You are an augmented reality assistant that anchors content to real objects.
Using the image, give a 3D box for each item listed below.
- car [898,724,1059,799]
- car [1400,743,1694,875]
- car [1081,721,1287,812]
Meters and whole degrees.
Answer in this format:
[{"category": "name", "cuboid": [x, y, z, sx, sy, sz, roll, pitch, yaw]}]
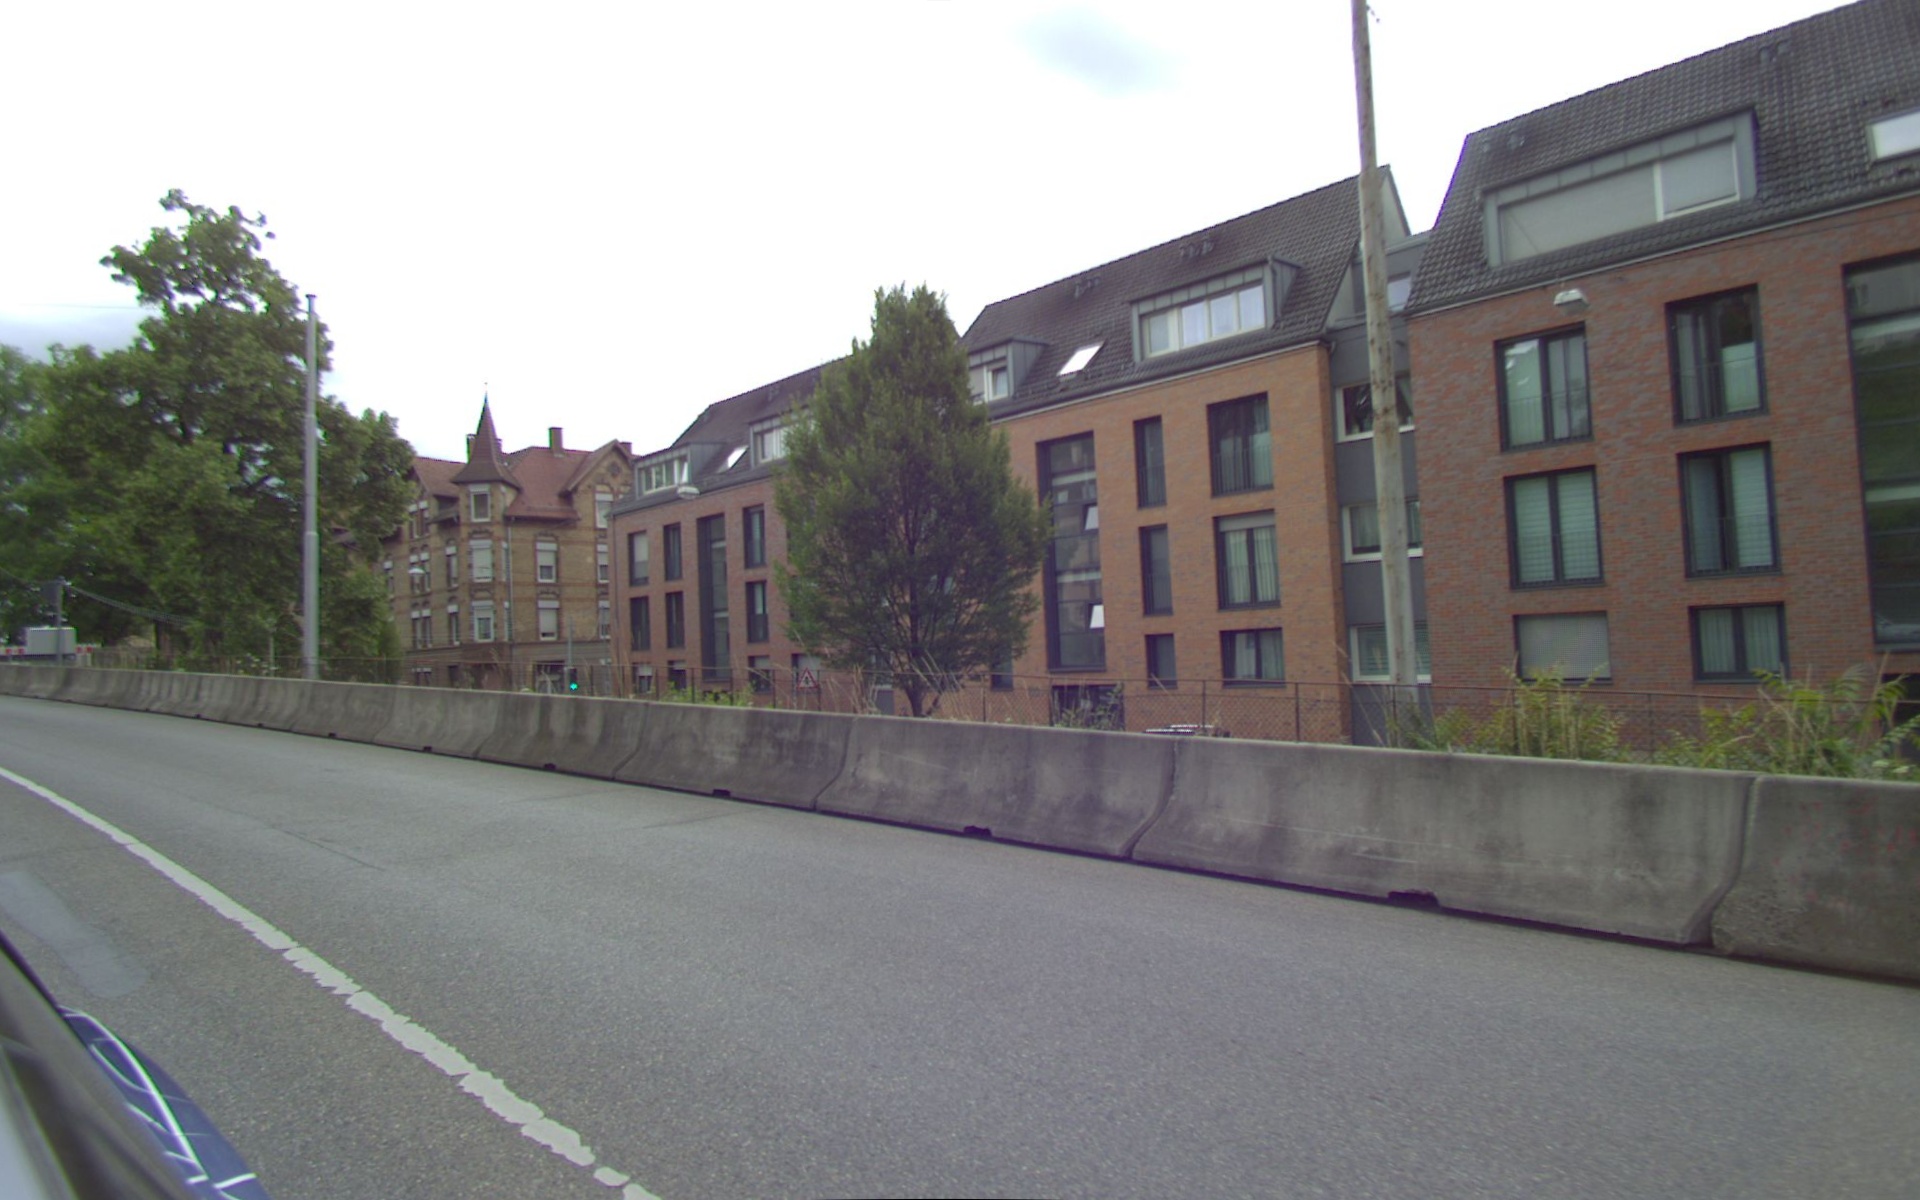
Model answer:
[{"category": "car", "cuboid": [0.421, 4.086, 26.114, 4.000, 1.522, 1.774, -3, -5, 43]}, {"category": "car", "cuboid": [9.866, 3.412, 17.204, 4.000, 1.620, 1.774, -3, -5, 43]}, {"category": "car", "cuboid": [4.746, 3.495, 21.818, 4.000, 1.522, 1.774, -3, -5, 43]}]
